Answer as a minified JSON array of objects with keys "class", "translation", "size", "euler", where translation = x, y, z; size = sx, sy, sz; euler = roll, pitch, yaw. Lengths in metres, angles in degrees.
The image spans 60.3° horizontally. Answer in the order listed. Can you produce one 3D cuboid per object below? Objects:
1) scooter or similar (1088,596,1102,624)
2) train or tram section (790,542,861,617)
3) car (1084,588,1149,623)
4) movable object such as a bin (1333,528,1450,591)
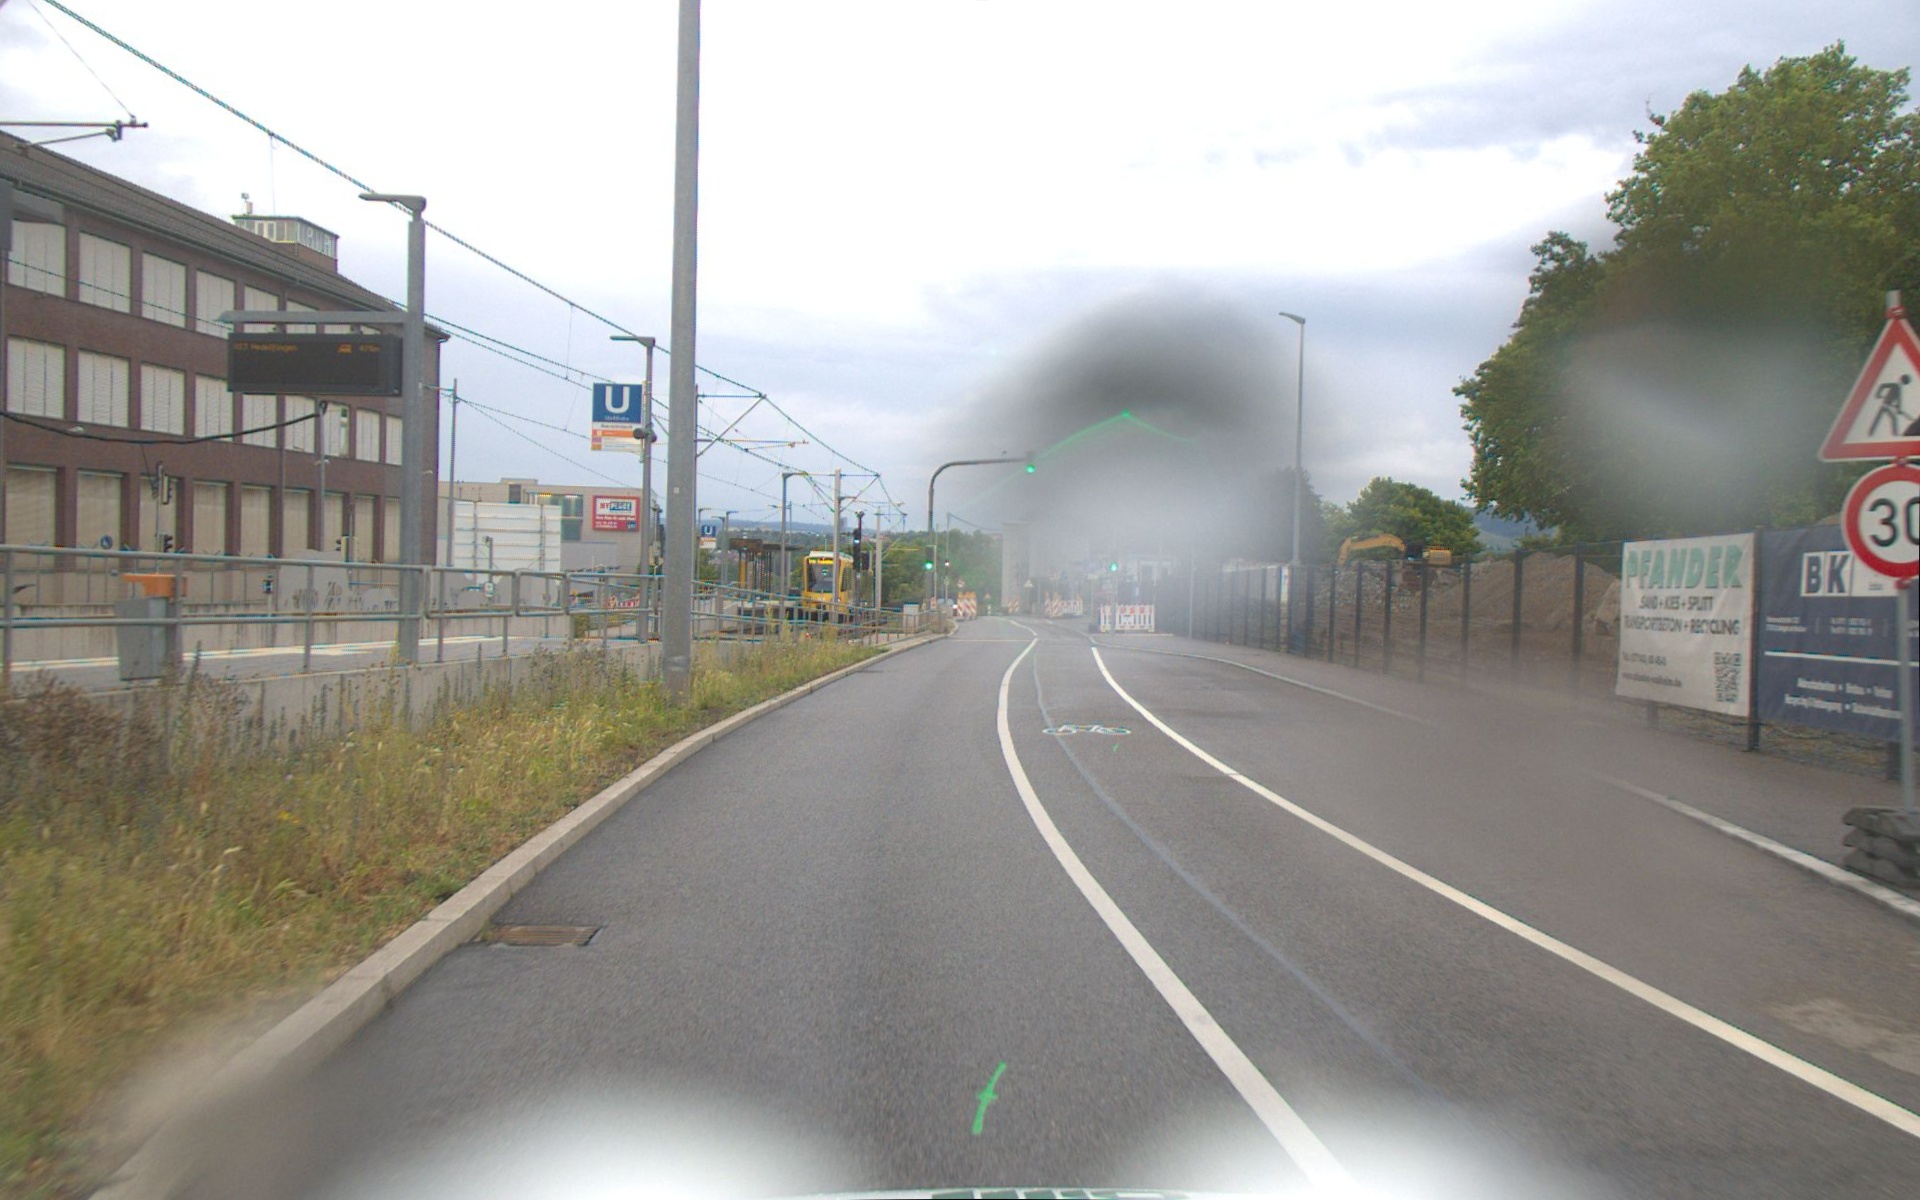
[{"class":"scooter or similar","translation":[6.704,0.471,82.089],"size":[0.602,1.375,1.913],"euler":[0,0,6]},{"class":"train or tram section","translation":[-7.814,-1.116,98.870],"size":[2.895,3.954,19.568],"euler":[2,0,-1]},{"class":"car","translation":[8.377,0.285,88.183],"size":[1.786,1.825,4.399],"euler":[1,0,31]},{"class":"movable object such as a bin","translation":[42.913,-4.018,164.797],"size":[10.992,6.100,3.494],"euler":[0,-1,8]}]
